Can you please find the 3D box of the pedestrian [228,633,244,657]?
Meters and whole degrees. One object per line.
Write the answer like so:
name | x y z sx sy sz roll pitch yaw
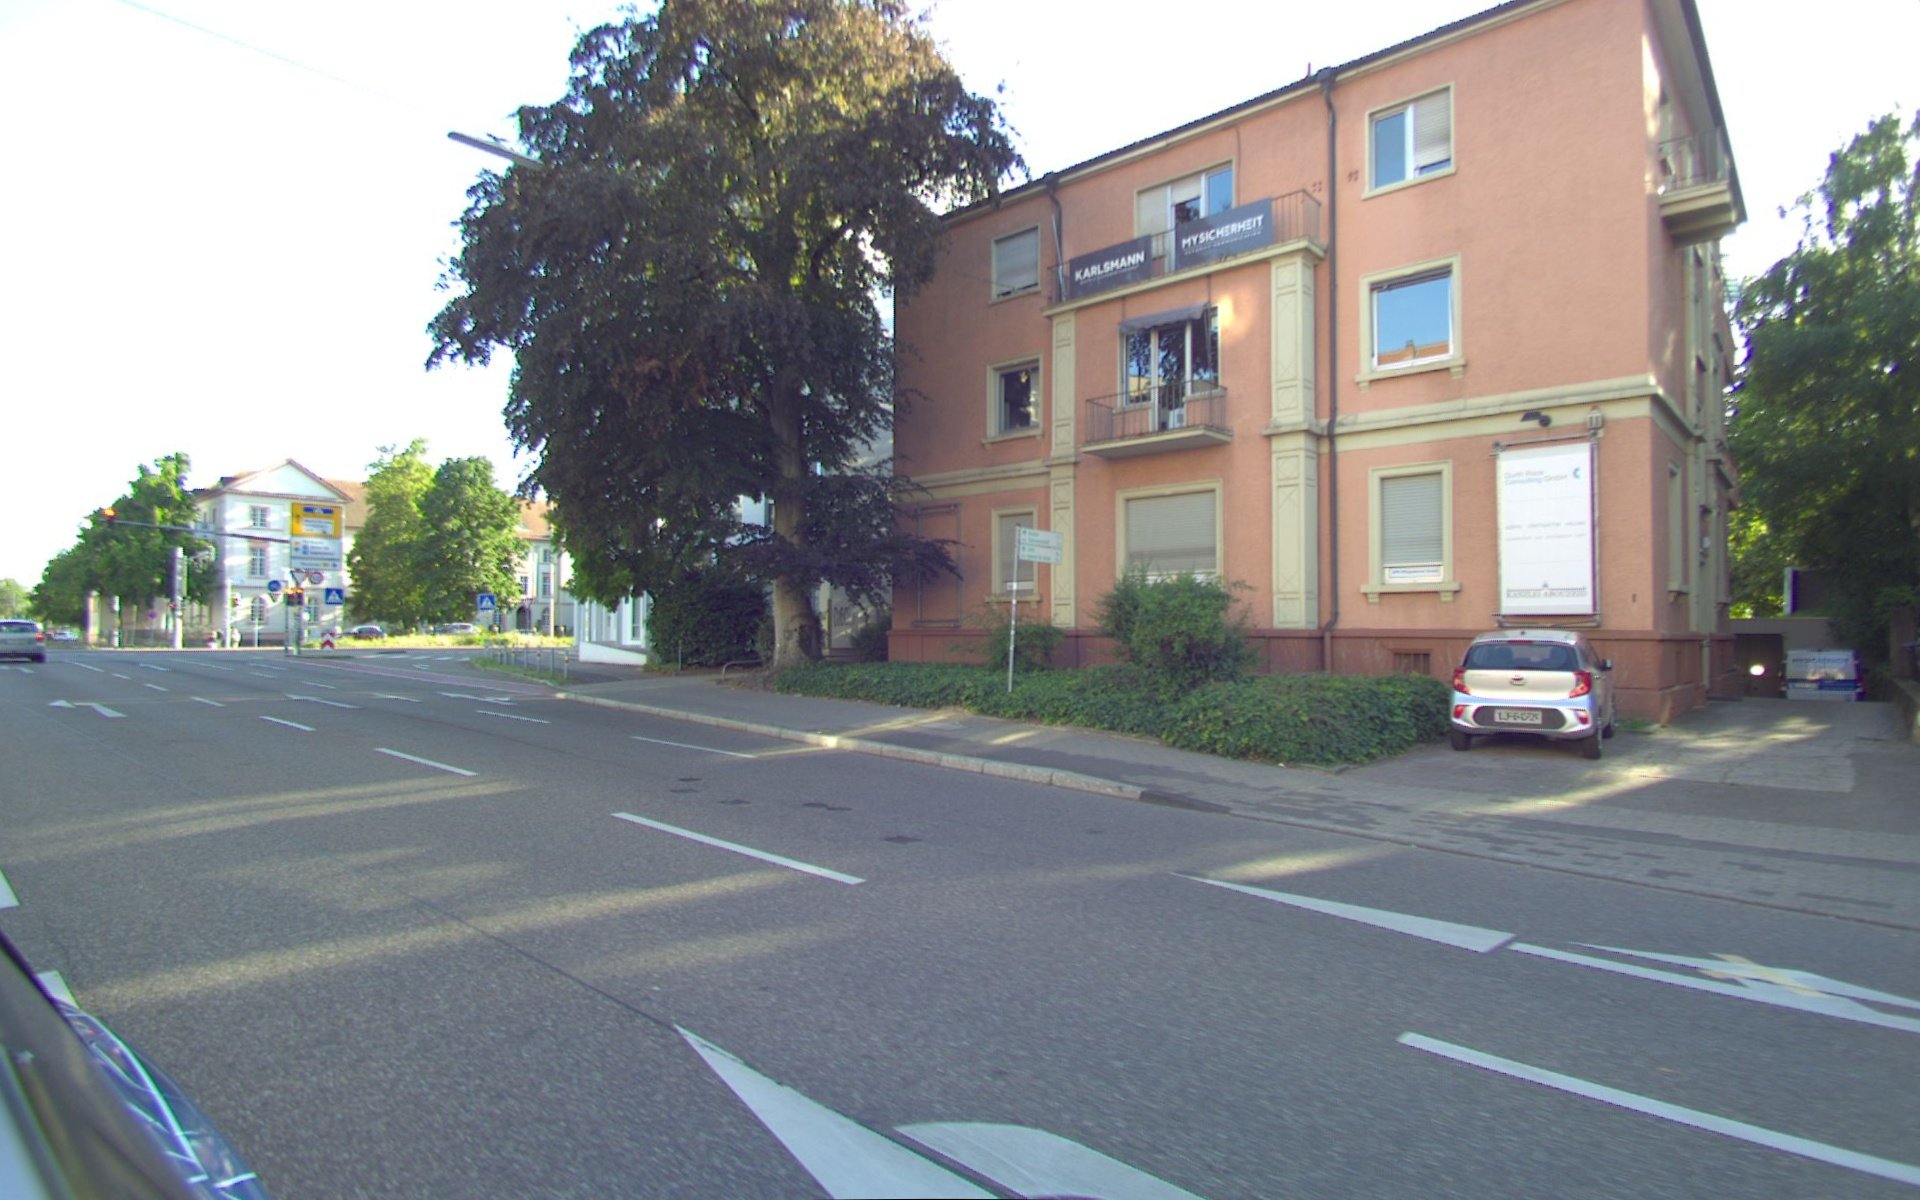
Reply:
pedestrian | -52.015 3.232 72.721 0.880 1.663 0.671 -2 -3 33

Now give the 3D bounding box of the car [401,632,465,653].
car | -38.176 3.053 73.349 1.997 1.457 3.601 -2 -3 37

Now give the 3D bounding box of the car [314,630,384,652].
car | -41.341 2.783 68.504 1.997 1.457 3.601 -2 -3 37

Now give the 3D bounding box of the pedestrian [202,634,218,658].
pedestrian | -53.036 3.231 71.579 0.887 1.663 0.614 -2 -3 33

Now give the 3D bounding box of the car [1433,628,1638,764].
car | 7.566 1.134 13.171 1.813 1.497 3.463 -2 -3 38

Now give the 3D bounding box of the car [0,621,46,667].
car | -33.148 1.526 35.133 4.606 1.526 1.807 -2 -3 45

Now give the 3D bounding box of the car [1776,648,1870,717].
car | 24.560 2.289 28.918 1.813 1.776 3.938 -2 -3 38
